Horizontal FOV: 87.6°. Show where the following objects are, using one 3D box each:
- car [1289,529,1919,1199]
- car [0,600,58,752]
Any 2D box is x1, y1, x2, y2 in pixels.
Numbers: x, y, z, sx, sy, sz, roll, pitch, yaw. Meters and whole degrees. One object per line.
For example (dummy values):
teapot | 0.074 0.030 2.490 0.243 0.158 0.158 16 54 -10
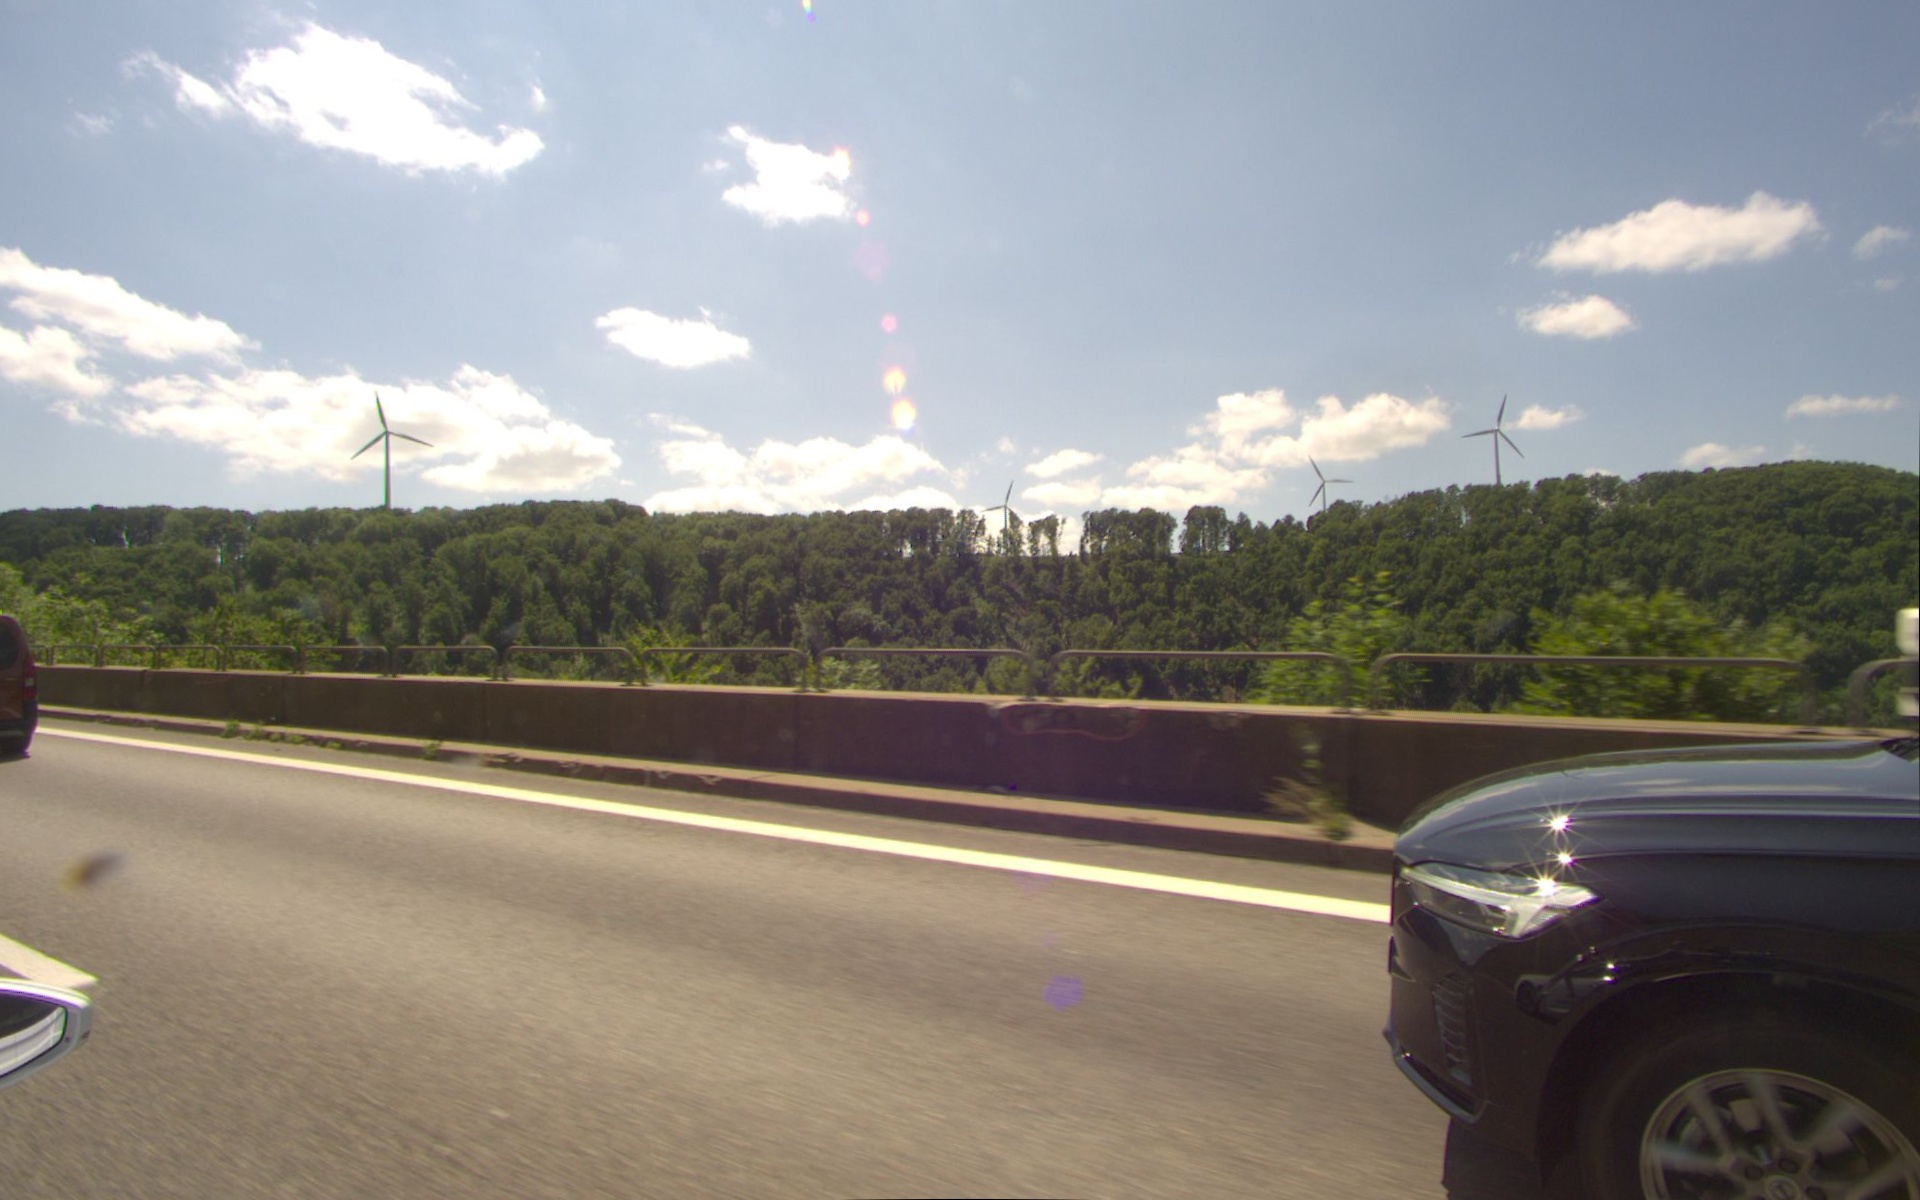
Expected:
car | 3.202 0.706 1.951 4.594 1.654 1.832 -1 -2 31
car | -13.585 0.957 12.777 4.608 1.807 1.830 -2 -1 31
